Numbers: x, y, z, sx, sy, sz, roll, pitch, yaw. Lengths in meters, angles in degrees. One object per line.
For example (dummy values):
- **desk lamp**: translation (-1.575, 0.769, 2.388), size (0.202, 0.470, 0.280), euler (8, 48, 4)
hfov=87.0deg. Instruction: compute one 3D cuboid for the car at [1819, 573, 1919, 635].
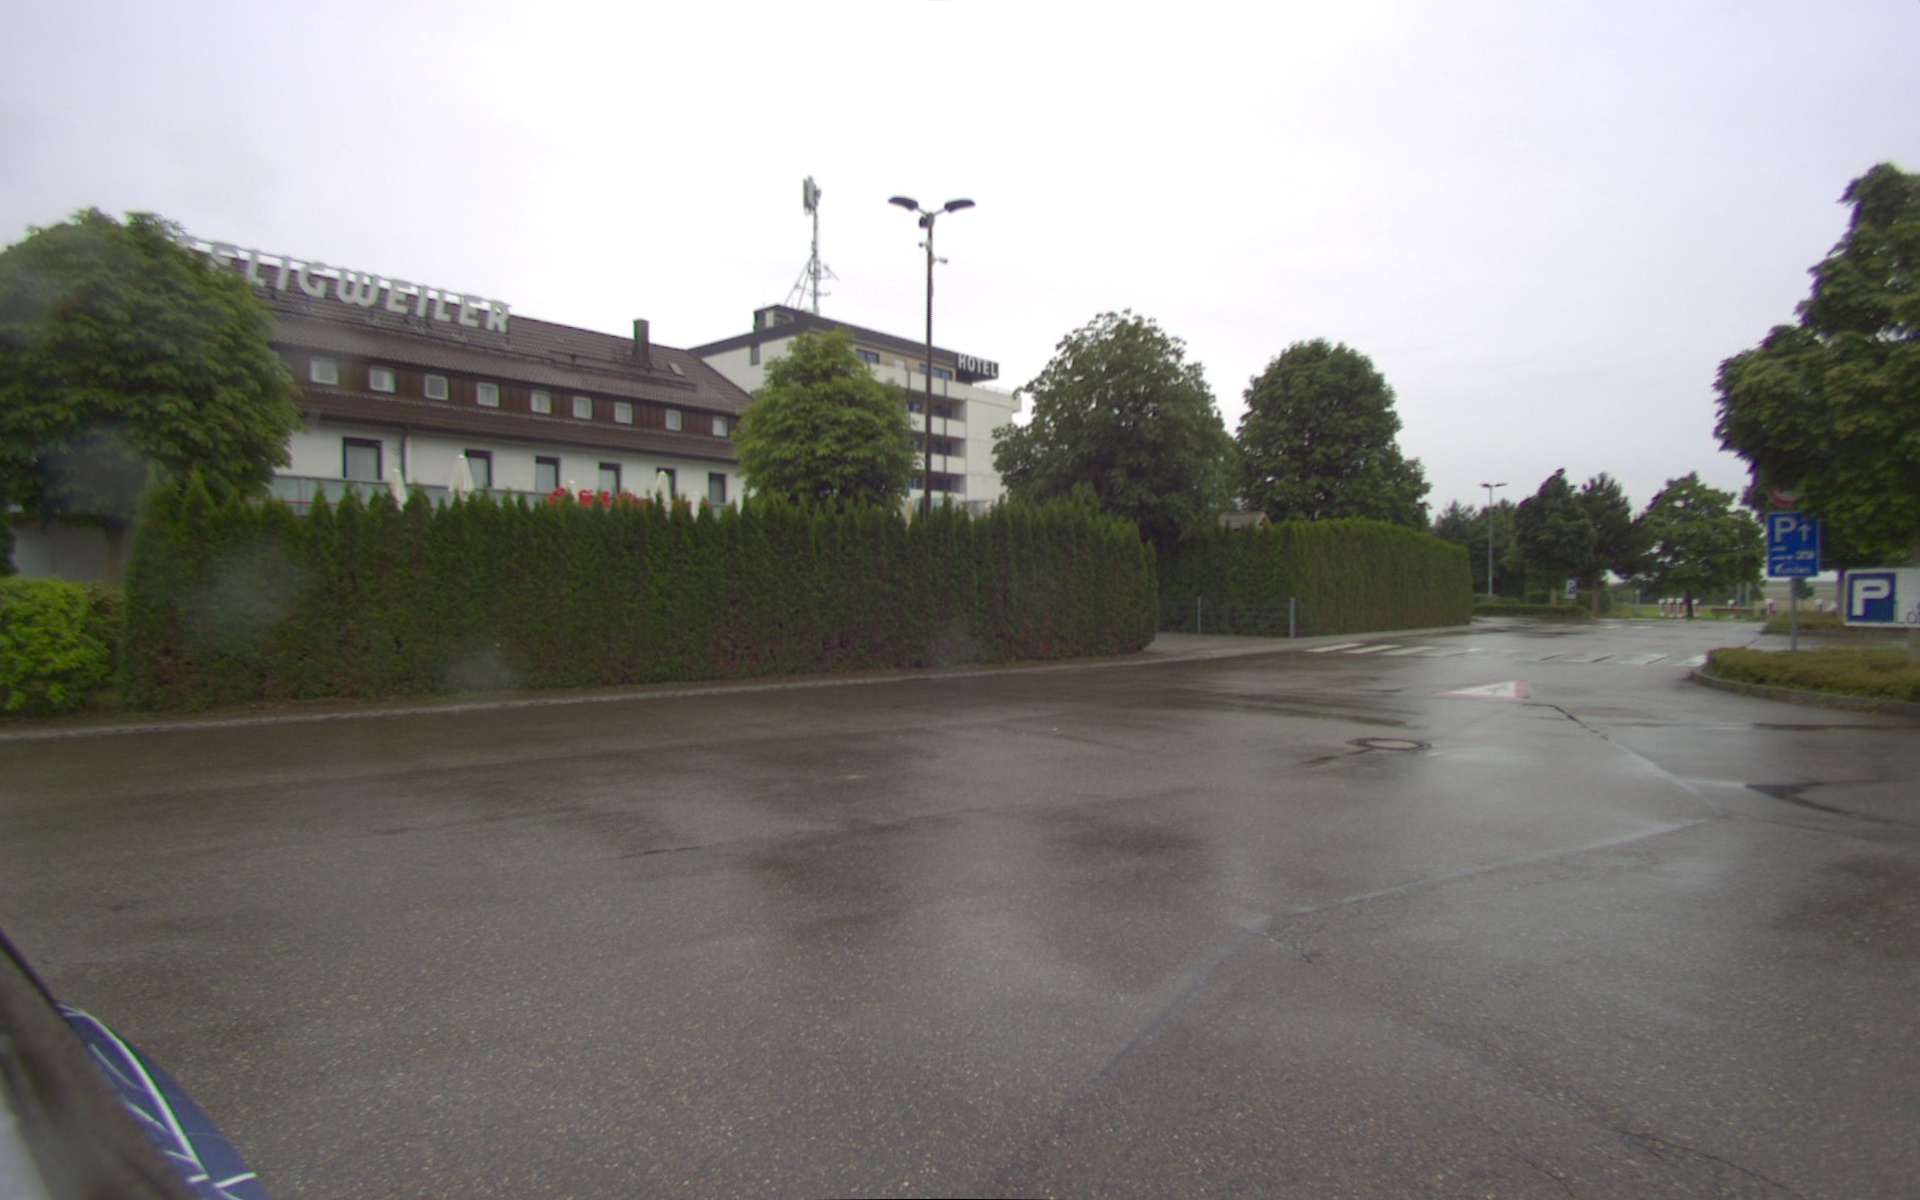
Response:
- **car**: translation (27.713, 0.134, 29.573), size (1.696, 1.728, 4.027), euler (1, 0, -1)
